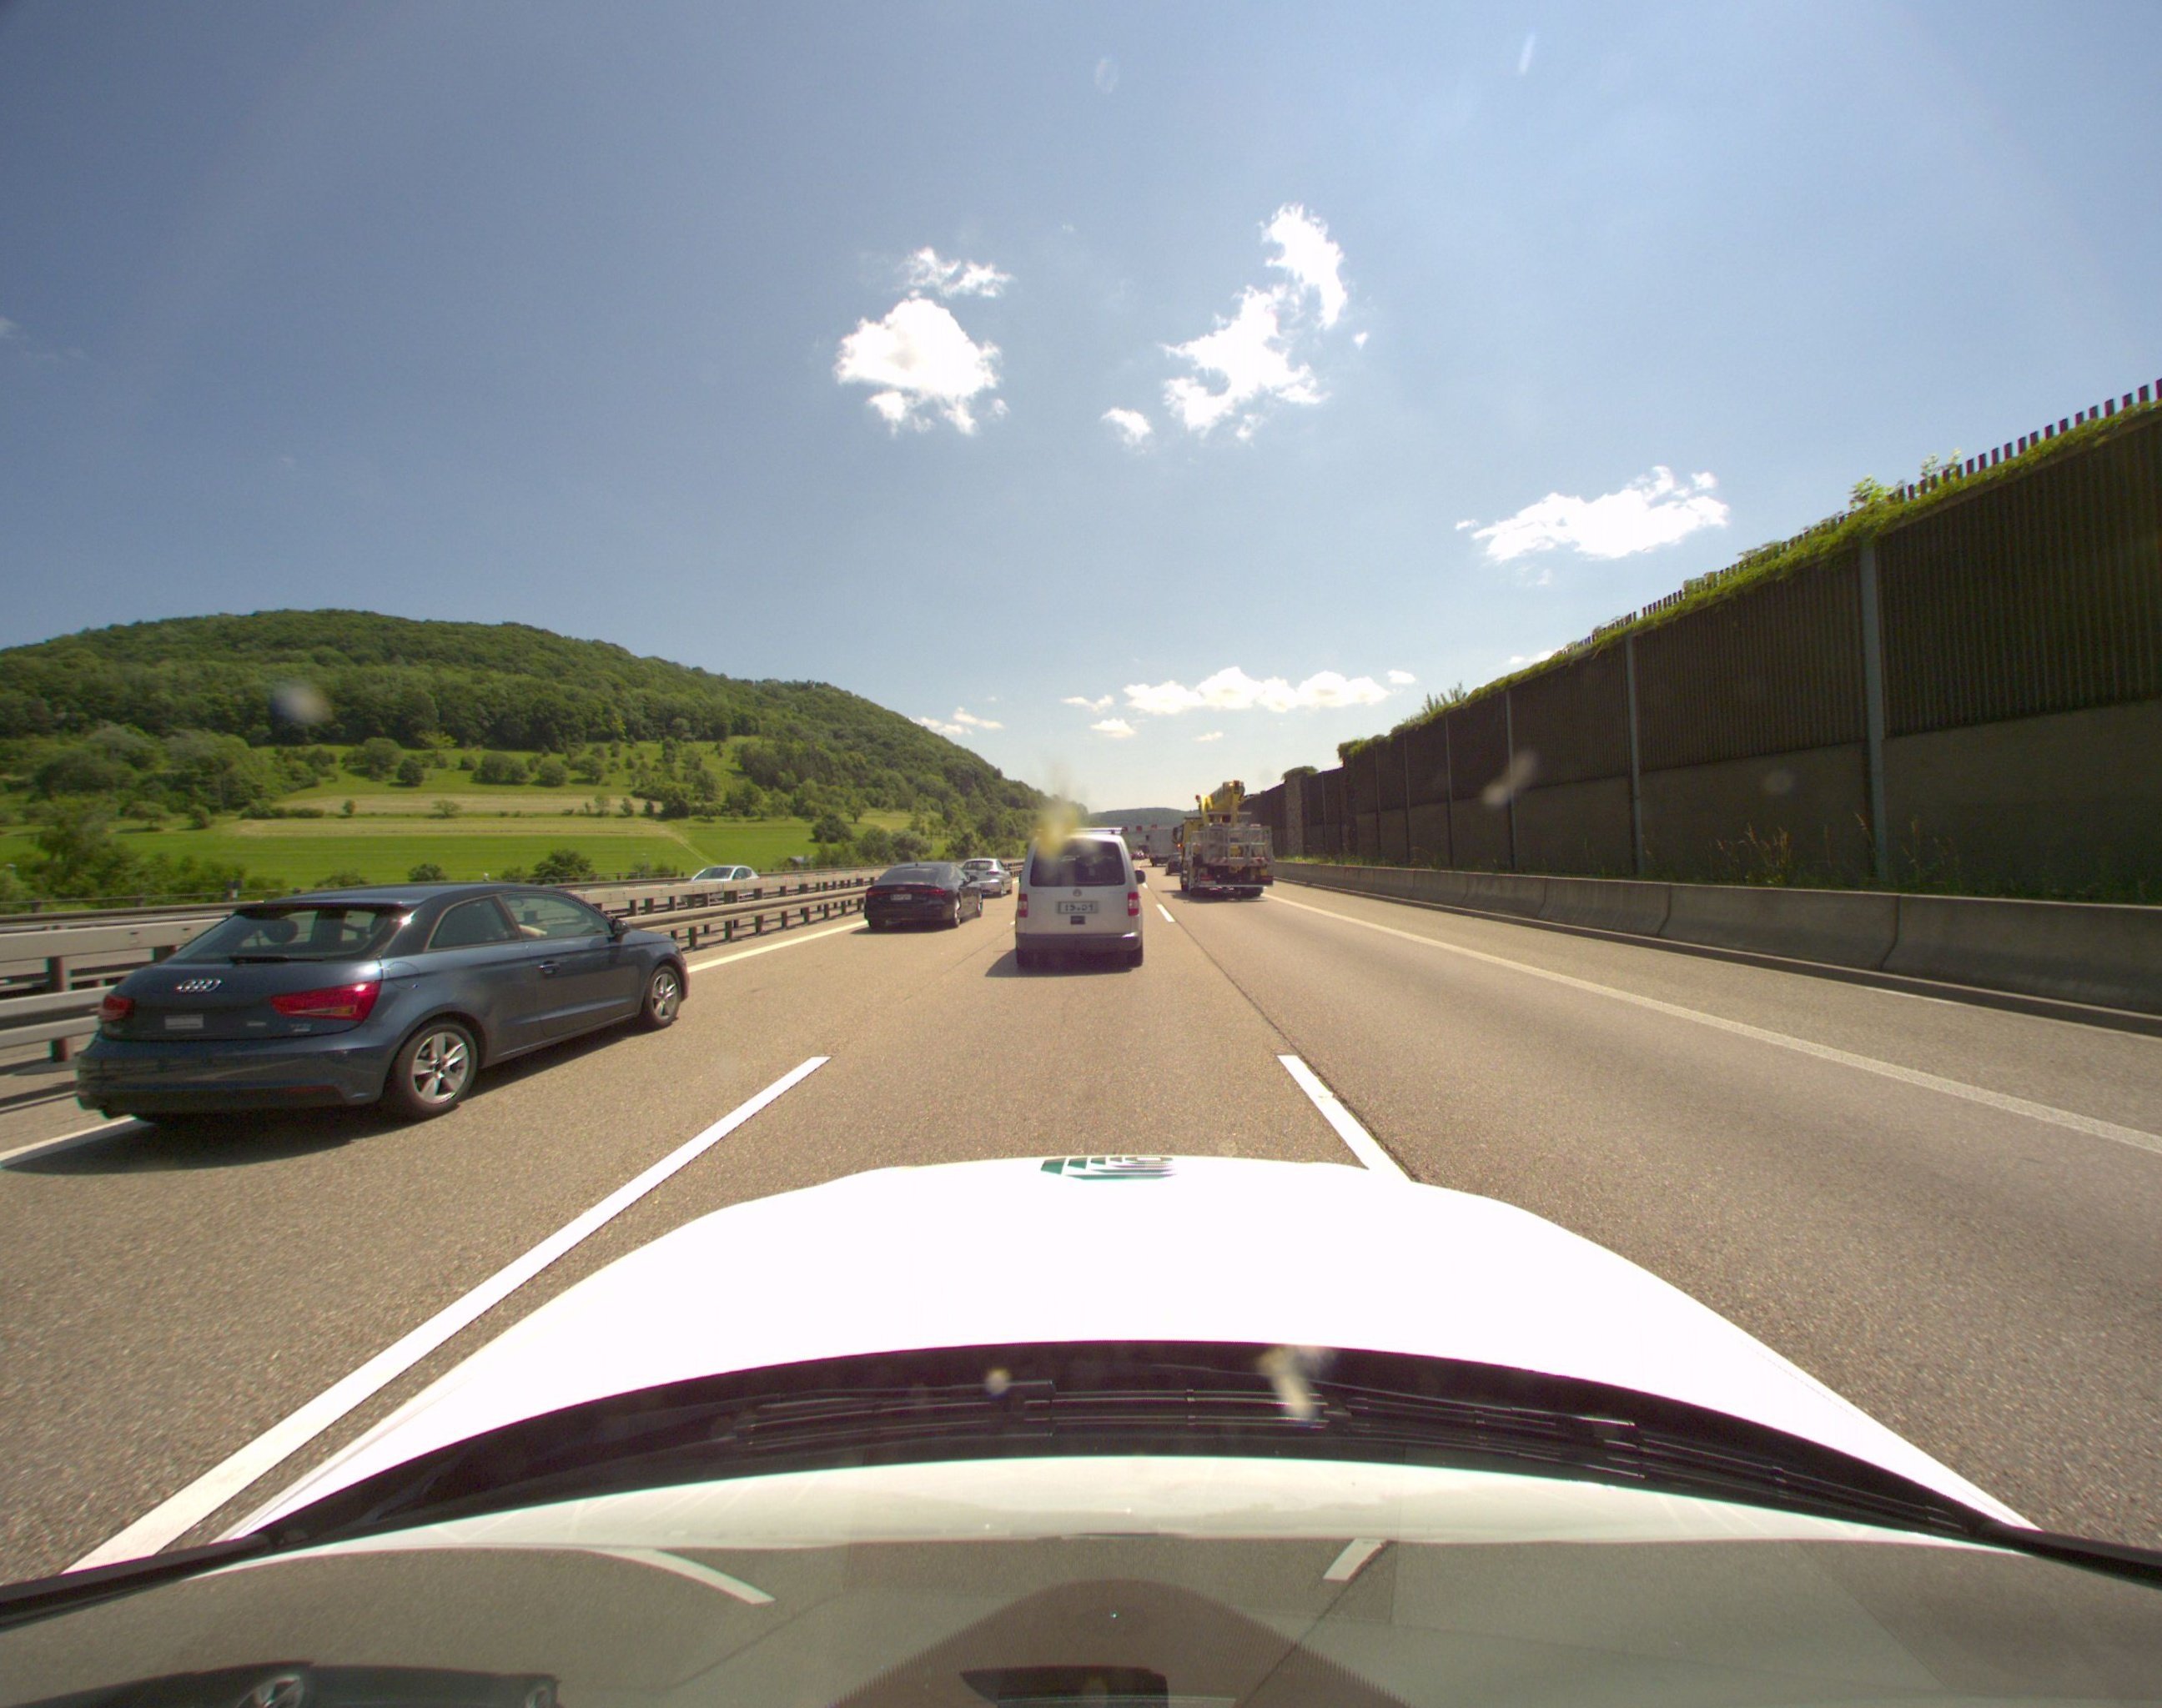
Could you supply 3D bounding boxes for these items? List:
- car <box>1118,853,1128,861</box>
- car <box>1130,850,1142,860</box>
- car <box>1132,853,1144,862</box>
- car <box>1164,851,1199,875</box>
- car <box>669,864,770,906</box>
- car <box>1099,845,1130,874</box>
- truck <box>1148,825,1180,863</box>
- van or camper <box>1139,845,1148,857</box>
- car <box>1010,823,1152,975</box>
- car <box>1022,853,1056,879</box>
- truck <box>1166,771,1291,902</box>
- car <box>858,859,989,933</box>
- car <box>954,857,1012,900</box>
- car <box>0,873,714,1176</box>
[{"bbox_3d":[9.499,0.749,184.150,2.108,1.828,3.998,-1,-1,-1],"label":"car"},{"bbox_3d":[9.721,0.147,144.752,1.986,1.749,4.002,-1,-1,2],"label":"car"},{"bbox_3d":[11.462,0.667,164.246,2.108,1.828,3.998,-1,-1,-1],"label":"car"},{"bbox_3d":[6.619,0.571,53.960,1.781,1.458,3.769,-2,0,-1],"label":"car"},{"bbox_3d":[-13.844,1.146,31.481,1.986,1.497,4.002,-1,0,2],"label":"car"},{"bbox_3d":[2.382,0.409,59.342,1.988,1.975,3.998,-2,0,-1],"label":"car"},{"bbox_3d":[8.620,-0.959,85.465,2.928,3.823,8.242,-1,-1,3],"label":"truck"},{"bbox_3d":[16.373,-0.764,214.271,1.986,2.953,5.425,-1,-1,2],"label":"van or camper"},{"bbox_3d":[-0.029,0.570,12.339,1.751,1.868,3.998,-2,0,-1],"label":"car"},{"bbox_3d":[-2.537,0.722,49.737,1.919,1.499,3.998,-1,0,-1],"label":"car"},{"bbox_3d":[4.975,-0.535,29.327,2.696,3.942,8.717,-2,0,-1],"label":"truck"},{"bbox_3d":[-3.413,0.851,18.686,1.793,1.390,4.972,-2,0,3],"label":"car"},{"bbox_3d":[-3.600,0.858,30.463,1.691,1.445,3.860,-2,0,-1],"label":"car"},{"bbox_3d":[-4.577,0.909,6.092,1.682,1.388,4.002,-2,0,2],"label":"car"}]
